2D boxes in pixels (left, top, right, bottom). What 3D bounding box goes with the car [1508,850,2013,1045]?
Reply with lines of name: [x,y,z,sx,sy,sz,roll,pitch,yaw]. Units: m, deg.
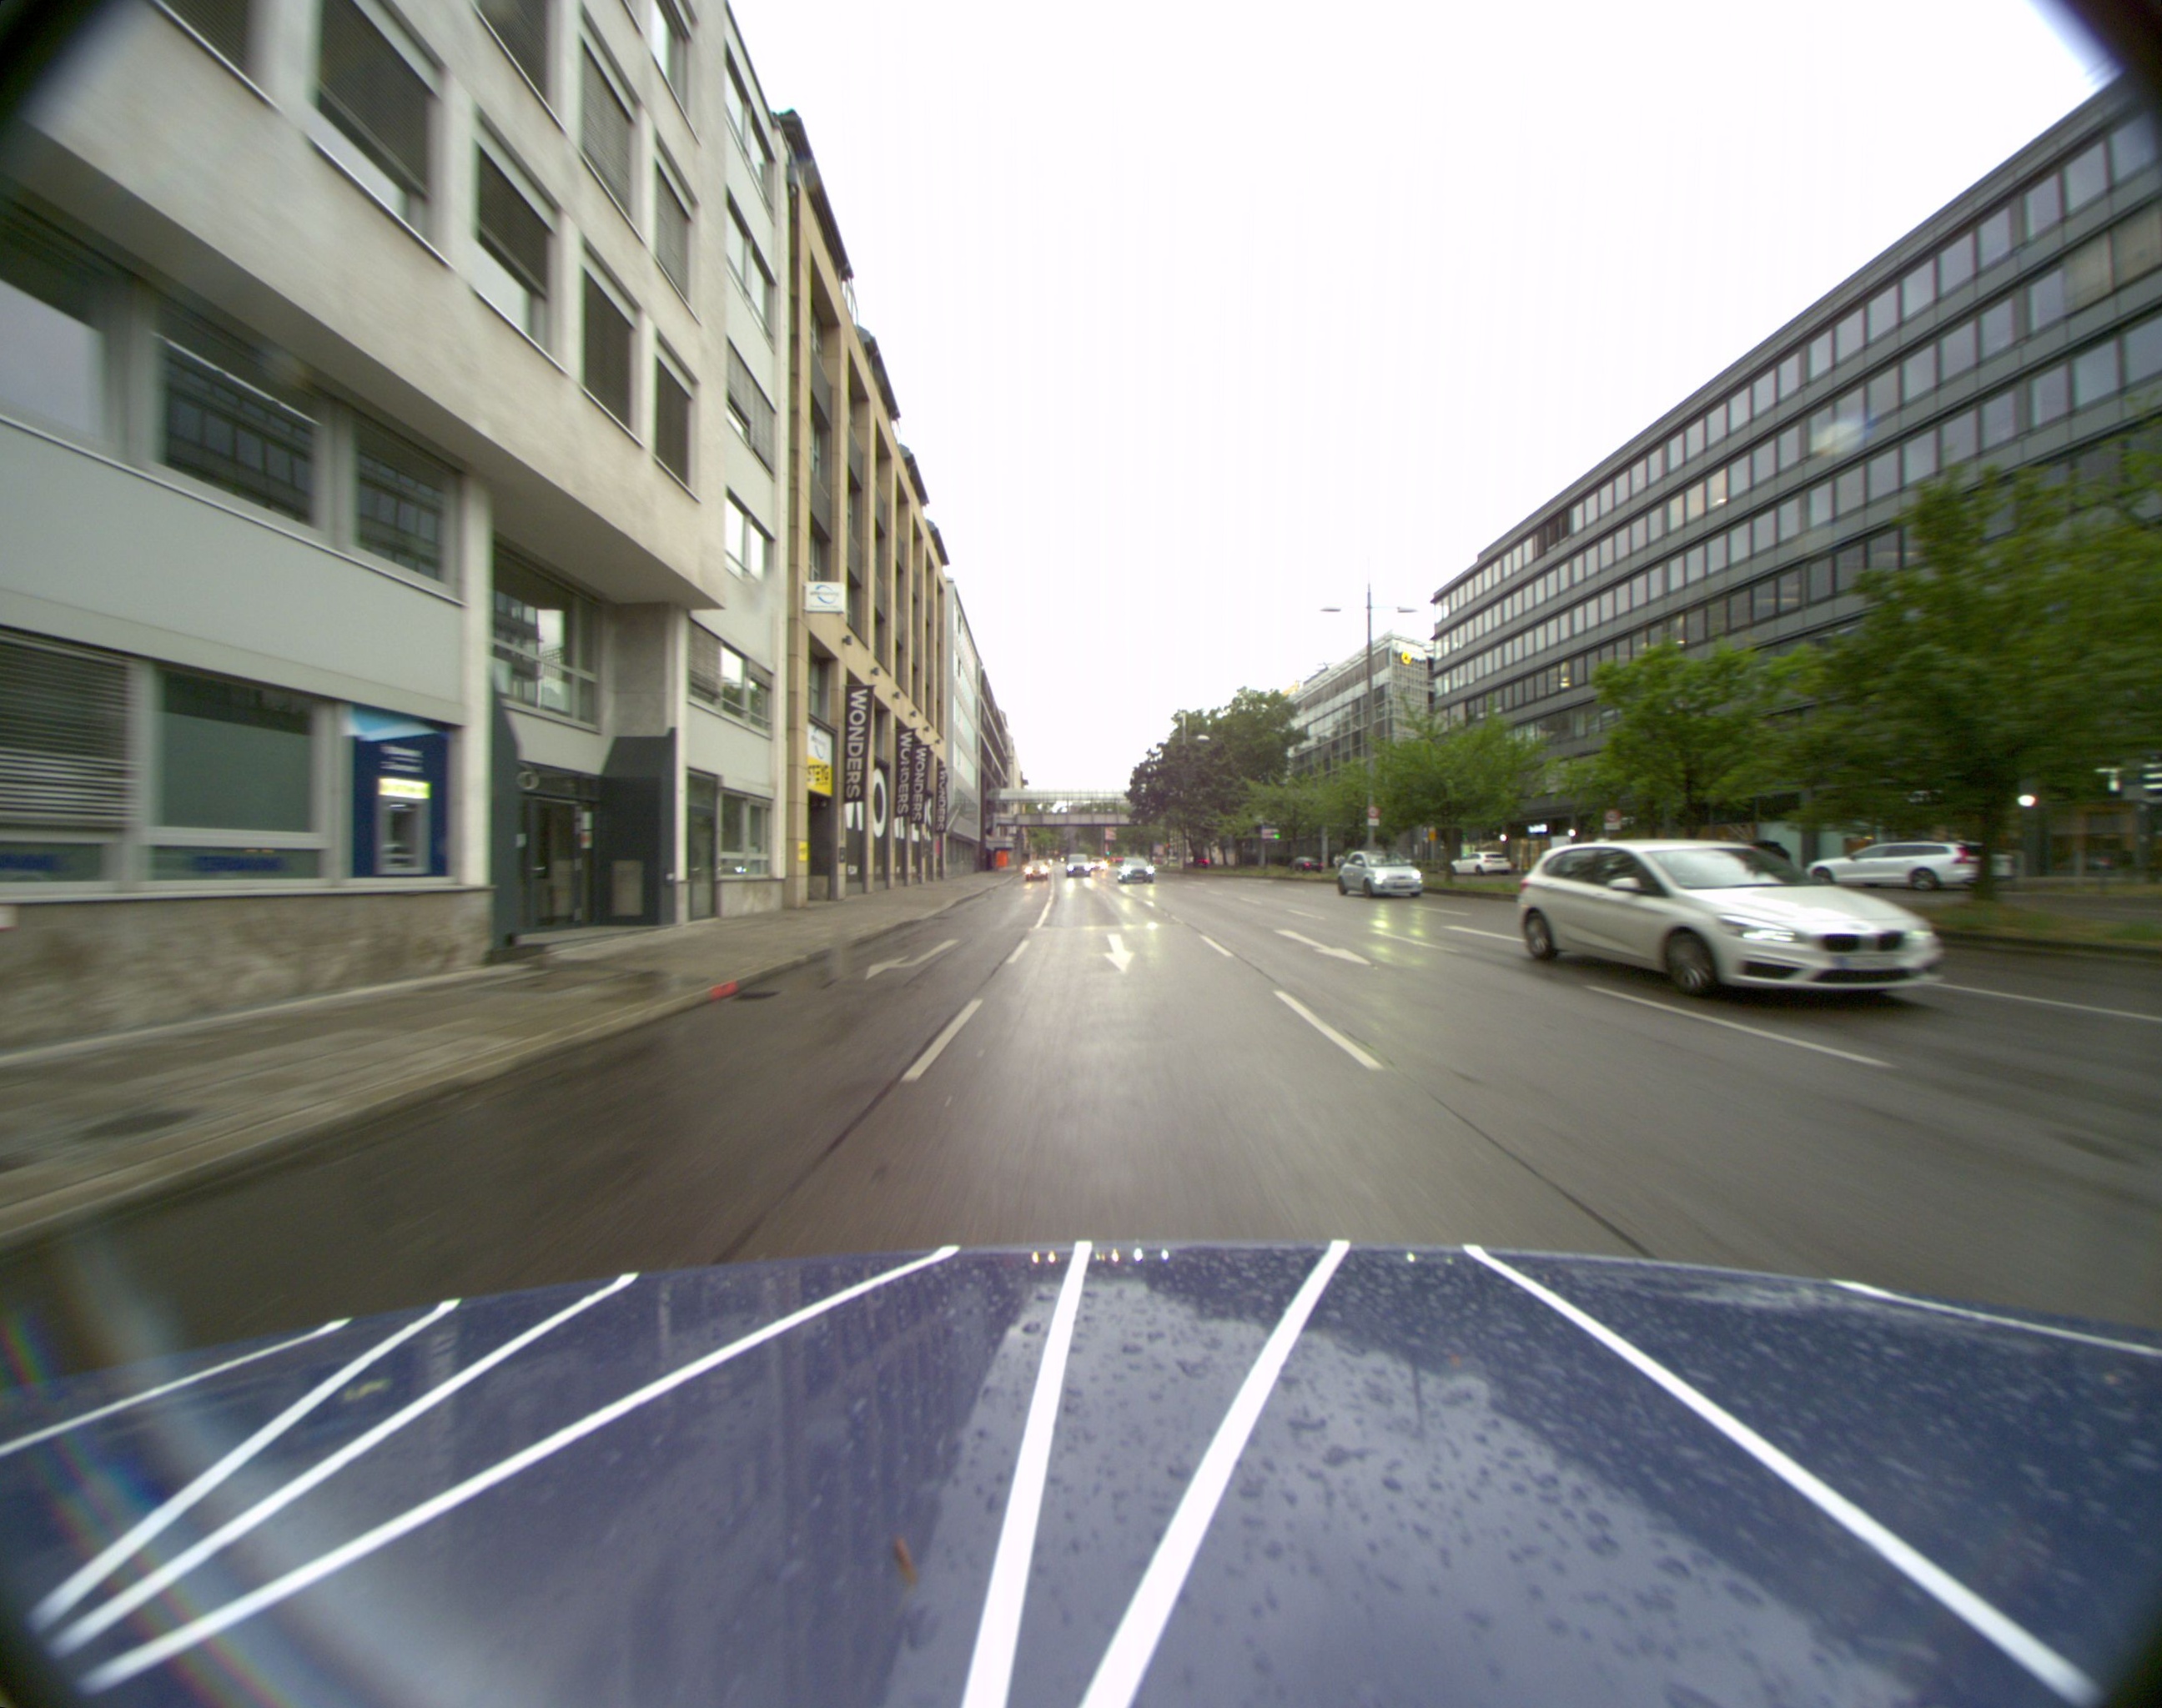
car: [6.757,0.773,8.359,1.788,1.564,4.288,-1,0,2]

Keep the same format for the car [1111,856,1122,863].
car: [7.501,1.178,162.315,1.732,1.303,4.075,-1,0,-5]

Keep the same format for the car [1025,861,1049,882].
car: [-3.272,1.260,56.489,1.667,1.464,3.482,-2,0,-3]

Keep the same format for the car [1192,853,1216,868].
car: [15.105,0.797,93.589,1.814,1.508,4.712,-1,4,-4]

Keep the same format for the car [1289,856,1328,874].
car: [19.553,0.961,65.603,1.814,1.467,4.300,-1,0,-4]

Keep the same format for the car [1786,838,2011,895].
car: [25.425,0.360,23.951,1.813,1.476,4.772,-4,0,-2]

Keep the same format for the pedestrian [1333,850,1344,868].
pedestrian: [26.791,0.527,79.158,0.729,1.788,0.924,-2,1,-2]

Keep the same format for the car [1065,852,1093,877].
car: [-0.239,0.859,63.461,2.163,2.014,5.040,-2,0,-2]

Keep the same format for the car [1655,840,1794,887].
car: [25.291,0.351,30.094,1.813,1.651,4.309,-2,0,0]

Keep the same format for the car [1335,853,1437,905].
car: [10.033,0.775,25.317,1.788,1.564,3.690,-1,0,-2]

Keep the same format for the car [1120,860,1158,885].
car: [3.489,1.092,46.382,1.941,1.426,4.287,-1,0,0]

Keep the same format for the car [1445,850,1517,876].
car: [24.454,0.541,46.616,1.814,1.436,4.308,-2,0,-5]

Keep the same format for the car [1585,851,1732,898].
car: [19.344,0.651,25.694,1.687,1.423,4.082,-1,0,-3]

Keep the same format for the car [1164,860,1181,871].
car: [13.235,1.662,110.150,1.732,1.425,4.311,-1,0,-4]

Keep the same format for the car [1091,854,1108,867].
car: [2.038,0.708,86.311,1.853,1.434,3.870,-1,0,0]

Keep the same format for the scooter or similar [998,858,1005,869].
scooter or similar: [-8.942,1.072,85.510,0.472,1.266,1.306,-1,0,-18]

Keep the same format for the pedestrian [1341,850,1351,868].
pedestrian: [27.608,0.518,79.166,0.729,1.822,0.924,-2,1,-2]
